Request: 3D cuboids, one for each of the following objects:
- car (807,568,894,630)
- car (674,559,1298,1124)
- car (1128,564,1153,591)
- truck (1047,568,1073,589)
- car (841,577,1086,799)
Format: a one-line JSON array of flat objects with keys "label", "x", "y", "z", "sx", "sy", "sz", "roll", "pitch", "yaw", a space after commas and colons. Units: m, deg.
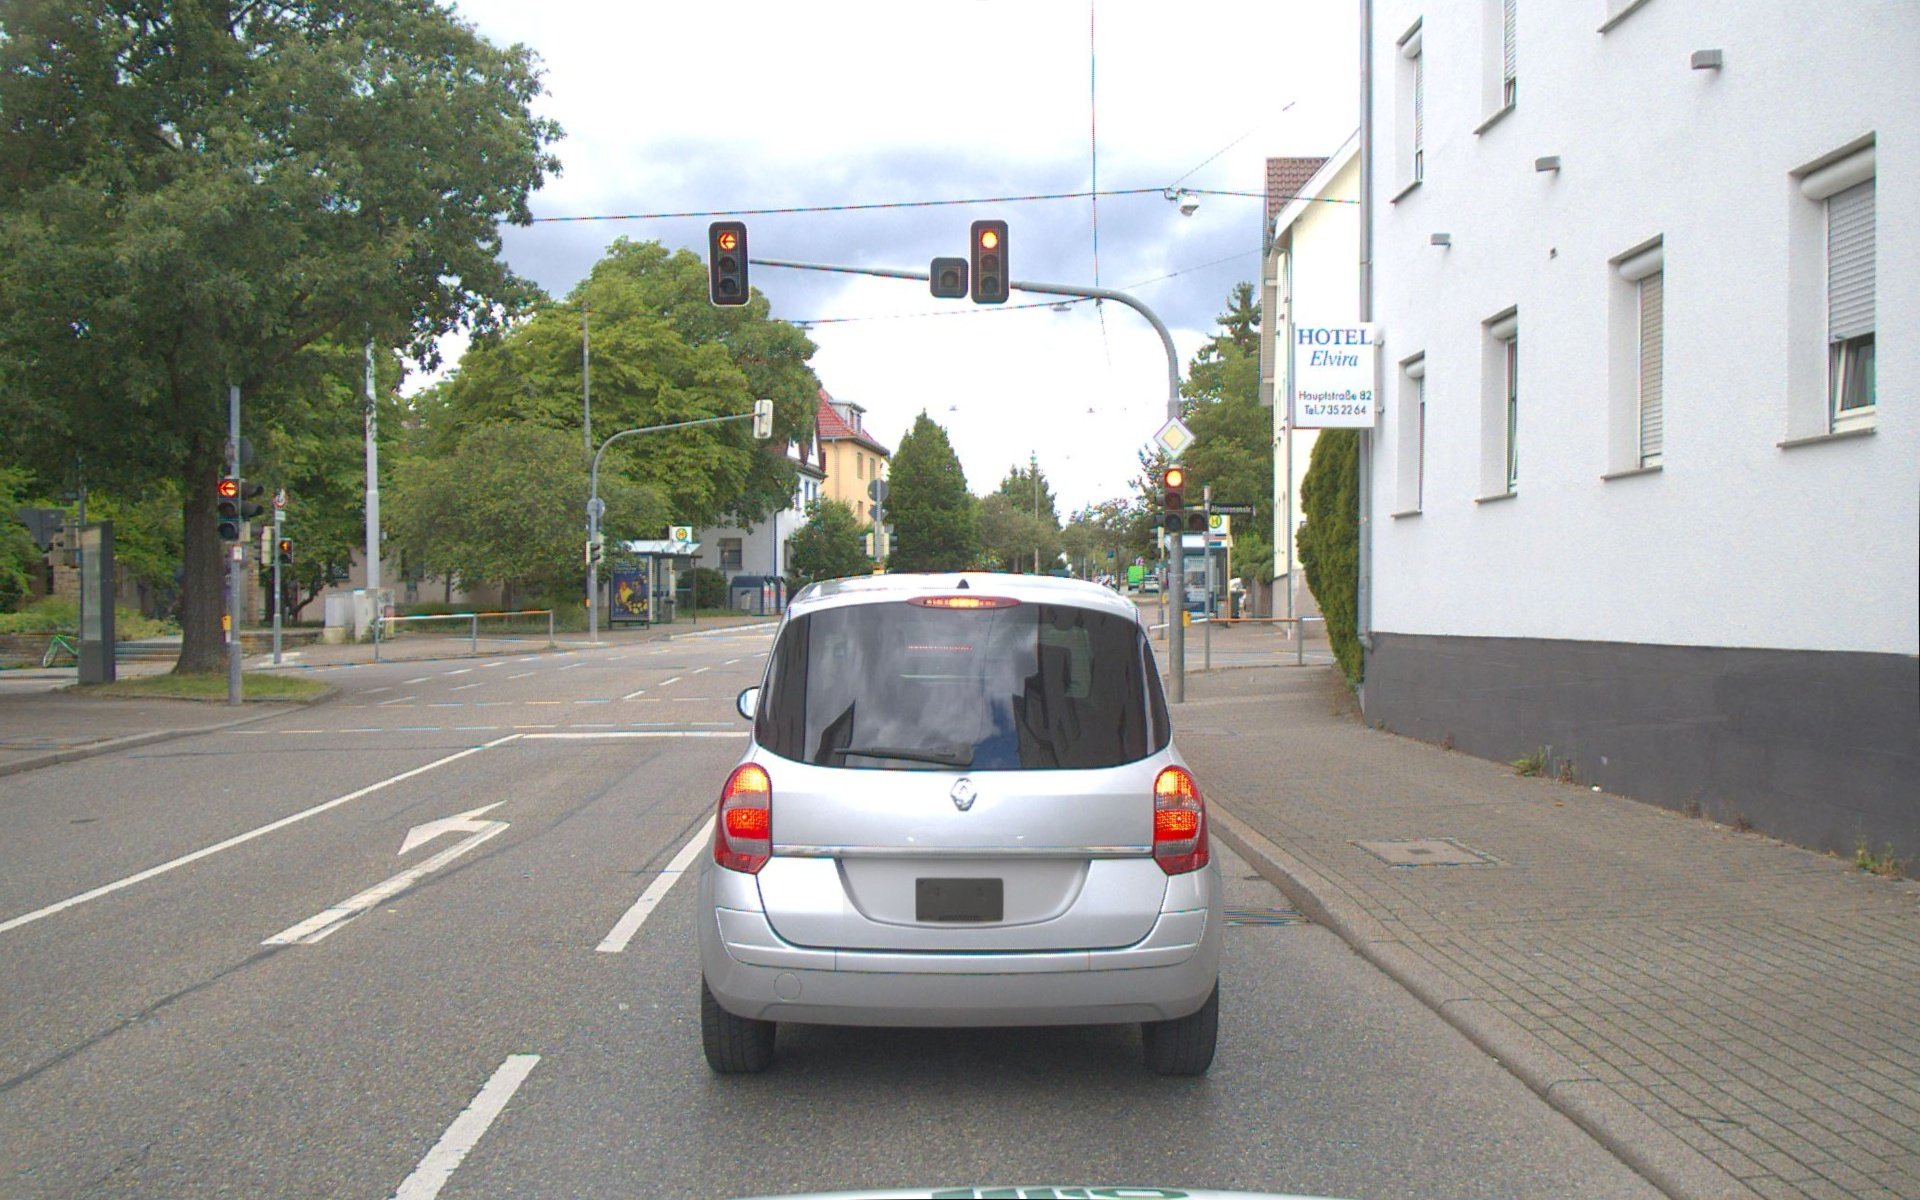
[{"label": "car", "x": -3.536, "y": -0.054, "z": 54.133, "sx": 1.885, "sy": 1.804, "sz": 4.004, "roll": -4, "pitch": 0, "yaw": 9}, {"label": "car", "x": 0.037, "y": 0.672, "z": 6.593, "sx": 1.719, "sy": 1.557, "sz": 3.999, "roll": 1, "pitch": 0, "yaw": -1}, {"label": "car", "x": 17.878, "y": -2.196, "z": 163.298, "sx": 2.015, "sy": 2.556, "sz": 5.600, "roll": 1, "pitch": 0, "yaw": 11}, {"label": "truck", "x": 10.087, "y": -2.156, "z": 166.688, "sx": 2.056, "sy": 2.049, "sz": 5.752, "roll": 1, "pitch": 0, "yaw": 9}, {"label": "car", "x": -0.011, "y": 0.623, "z": 13.619, "sx": 1.719, "sy": 1.557, "sz": 3.796, "roll": 1, "pitch": 0, "yaw": -1}]
